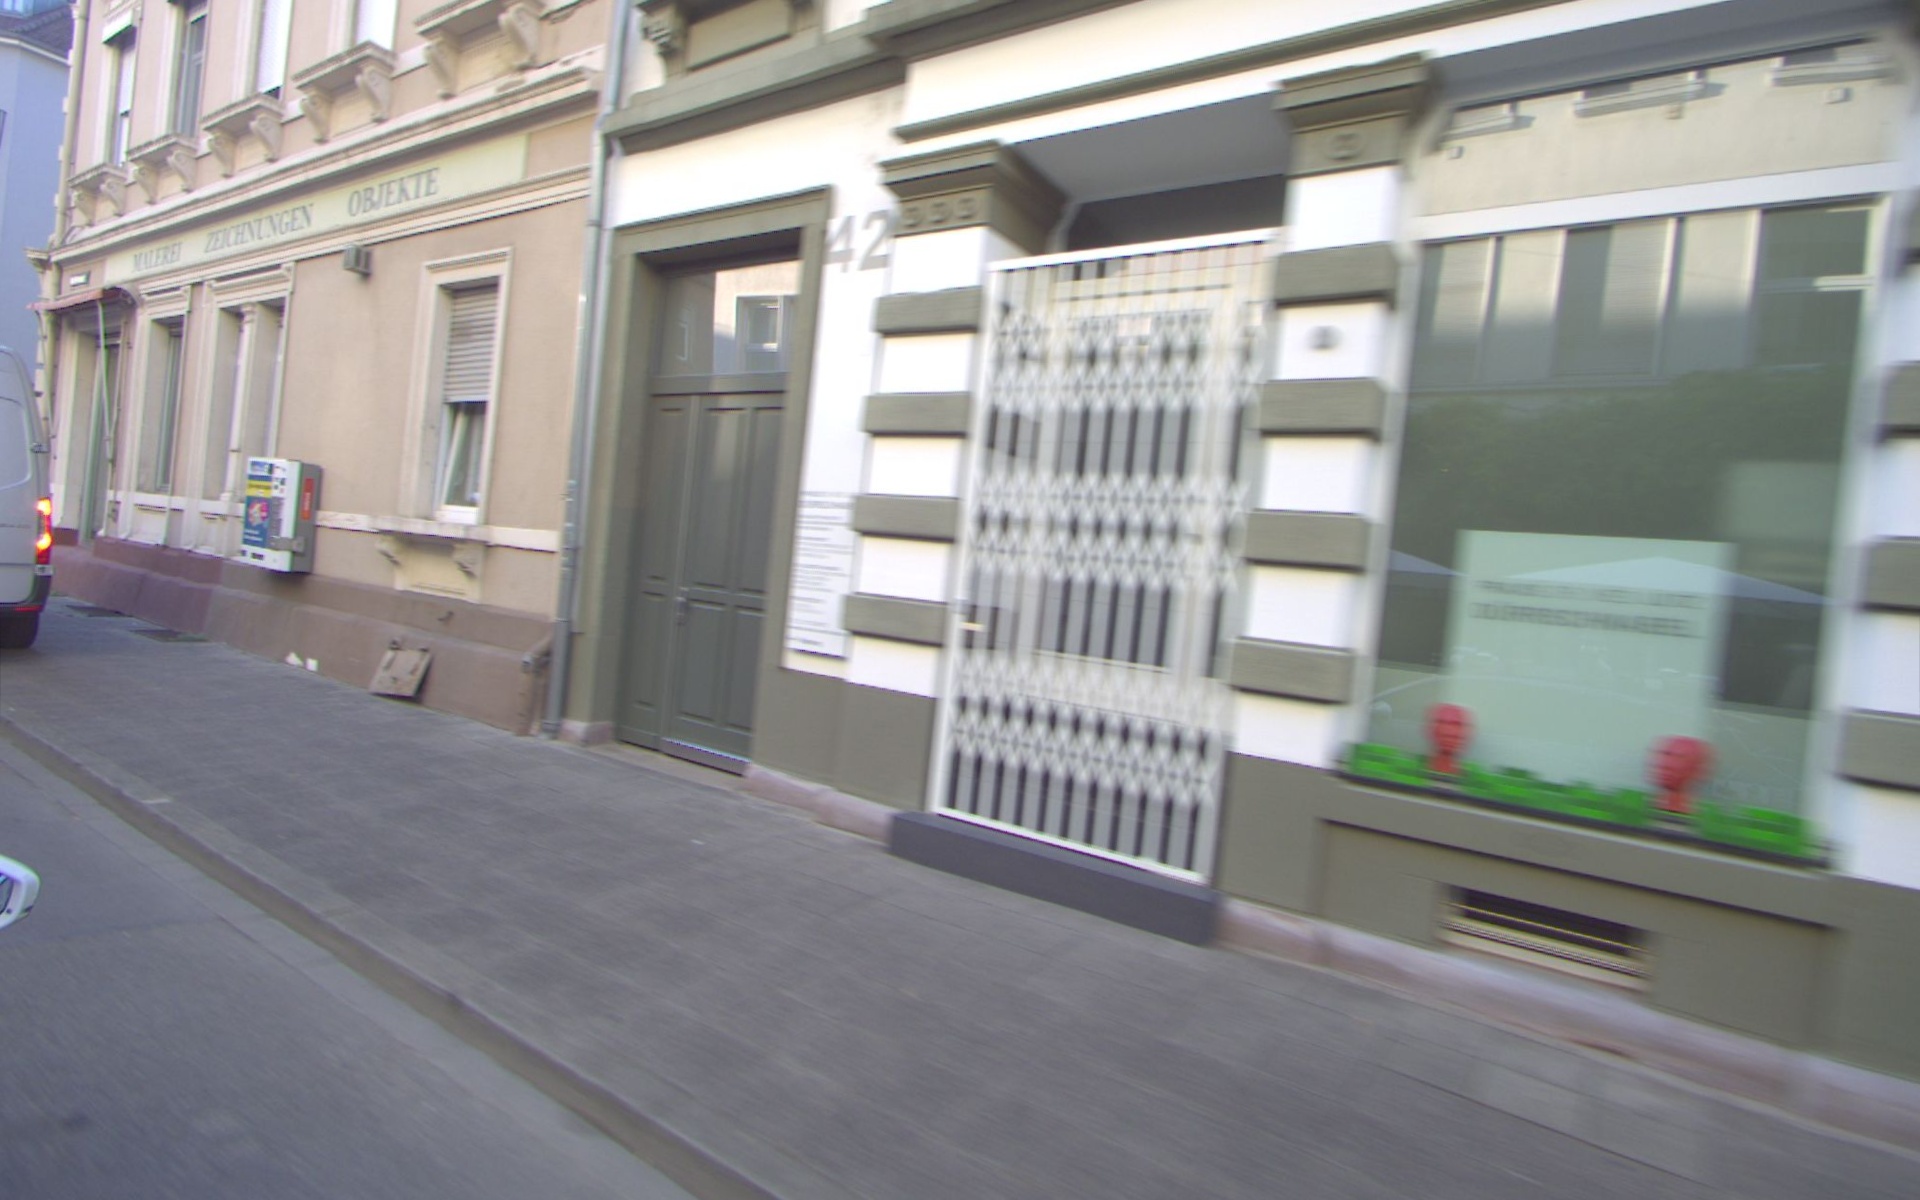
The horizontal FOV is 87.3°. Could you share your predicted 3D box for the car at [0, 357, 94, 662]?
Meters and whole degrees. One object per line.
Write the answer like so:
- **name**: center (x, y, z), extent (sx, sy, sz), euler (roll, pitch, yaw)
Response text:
- **car**: center (-10.679, -1.058, 9.537), extent (6.107, 2.470, 2.277), euler (7, 0, 36)
